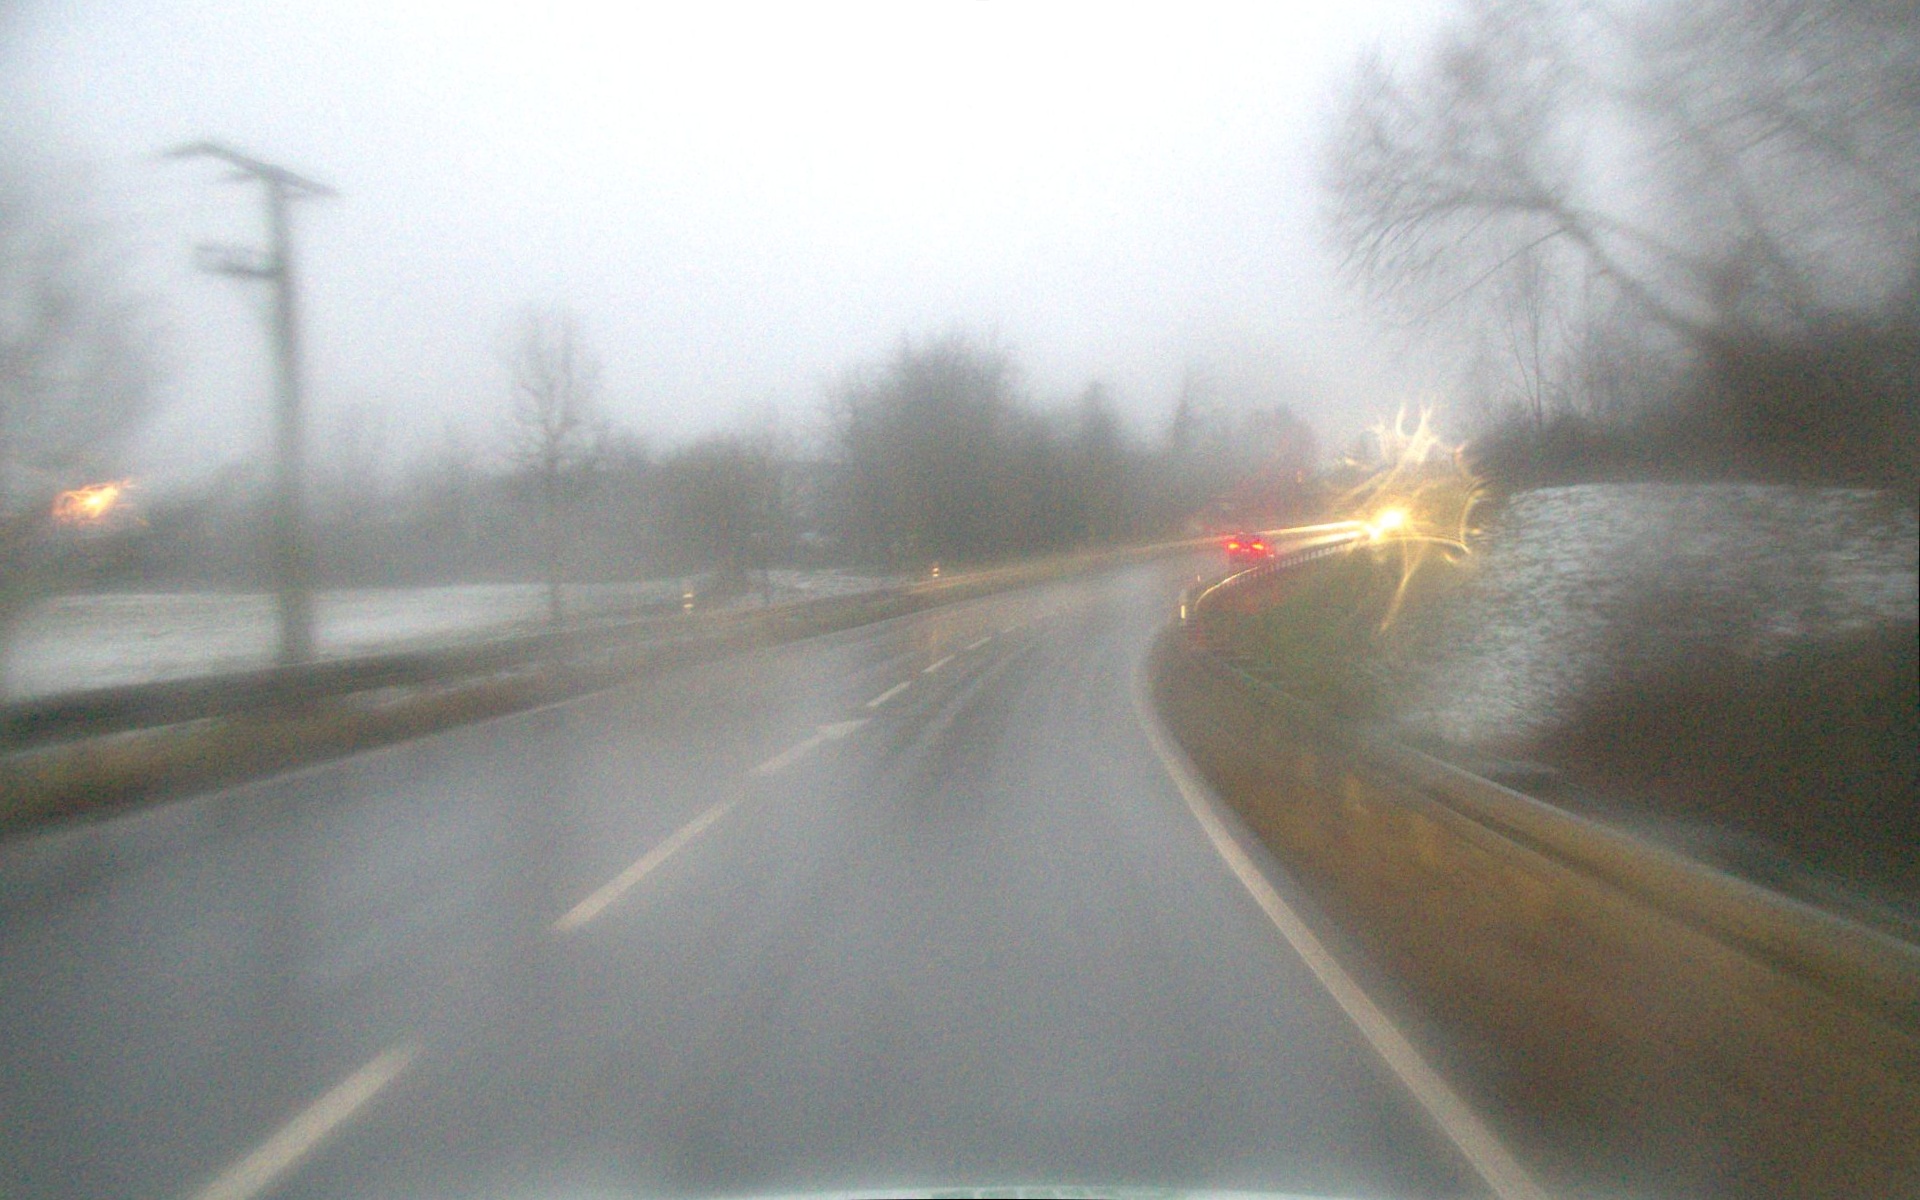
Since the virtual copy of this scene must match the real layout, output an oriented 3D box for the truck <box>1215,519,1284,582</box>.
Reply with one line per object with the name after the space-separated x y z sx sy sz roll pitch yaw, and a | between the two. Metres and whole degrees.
14.687 -2.566 83.538 2.479 2.918 5.927 -1 3 19 | truck
